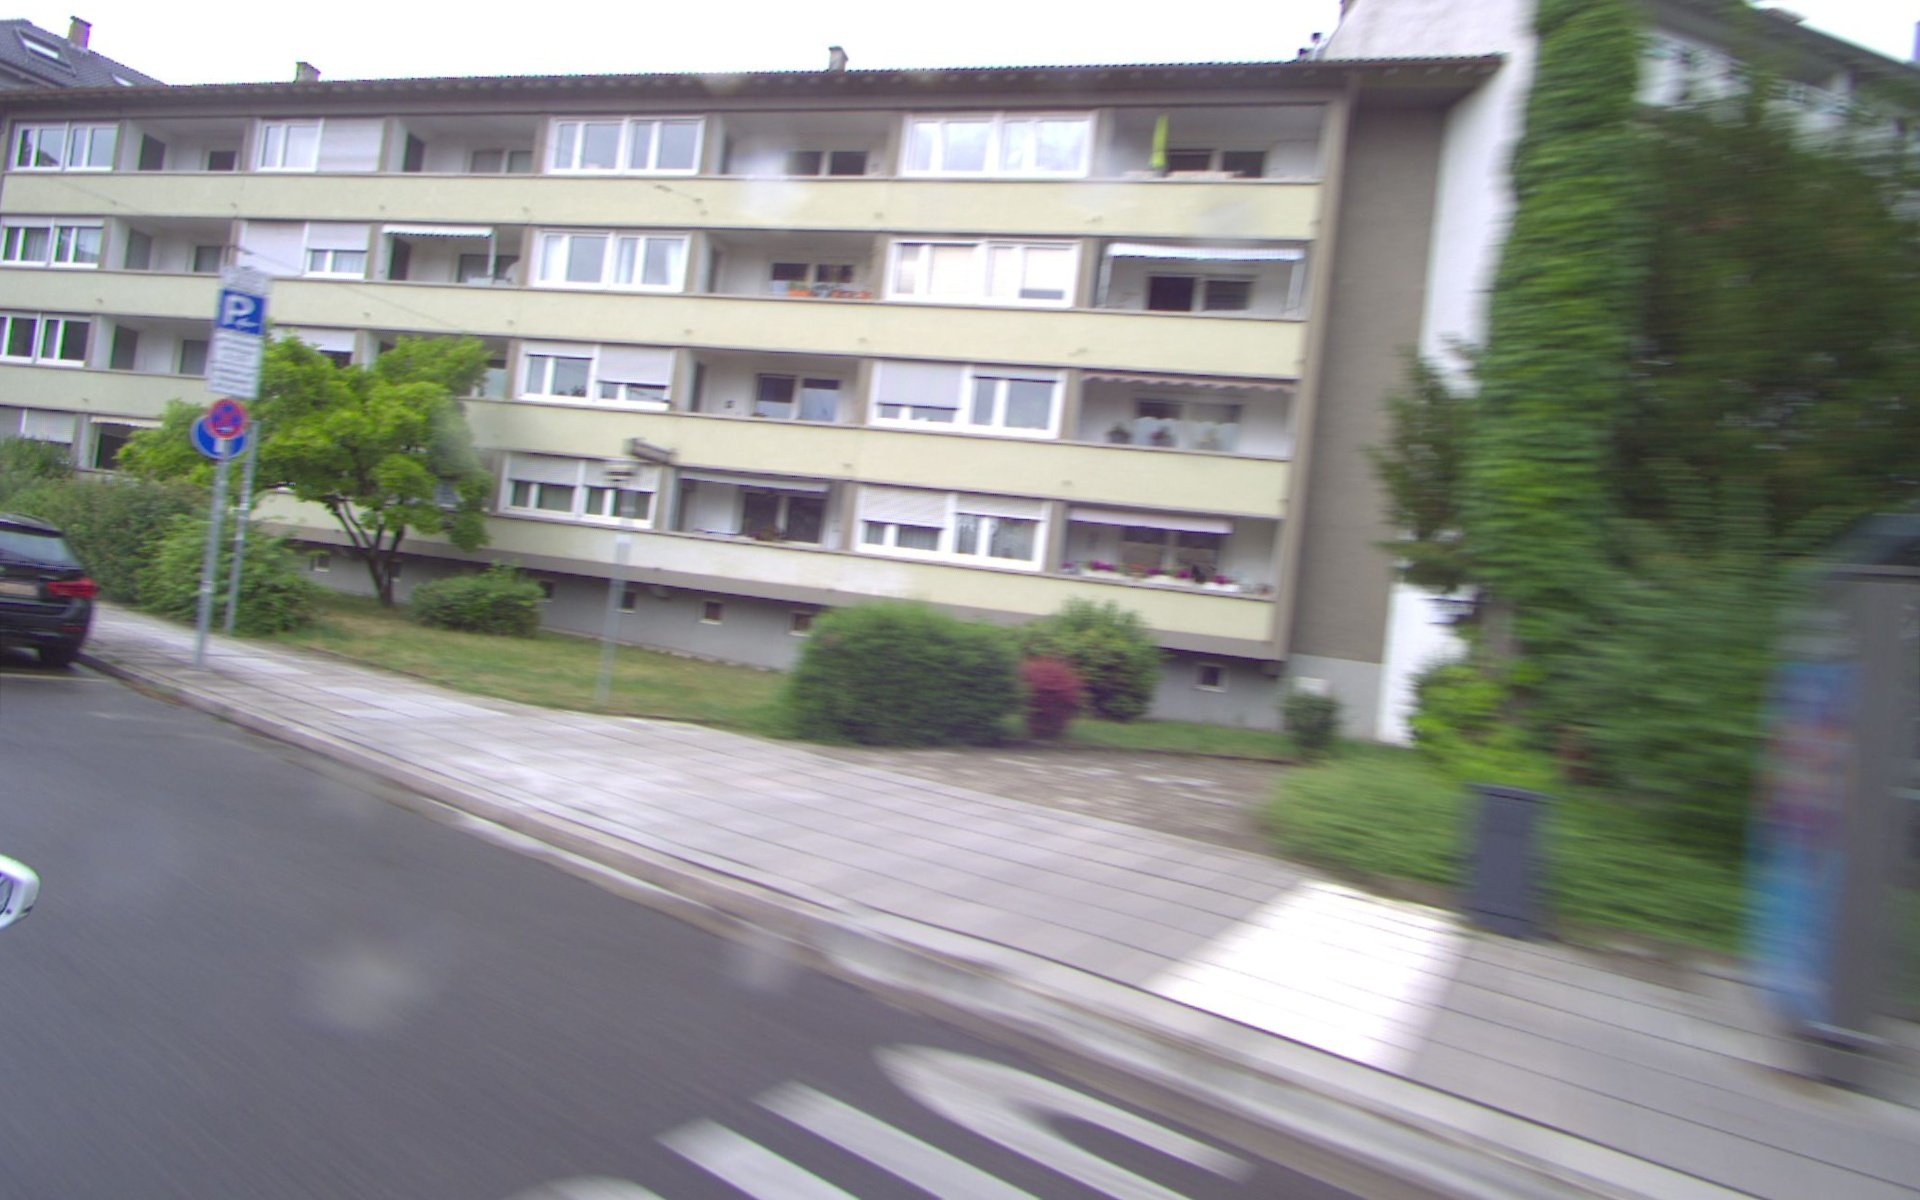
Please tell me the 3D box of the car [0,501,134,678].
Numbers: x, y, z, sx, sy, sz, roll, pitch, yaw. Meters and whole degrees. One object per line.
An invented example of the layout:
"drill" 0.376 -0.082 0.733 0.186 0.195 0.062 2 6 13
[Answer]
"car" -10.396 -0.351 10.015 4.568 1.503 1.862 7 -3 32

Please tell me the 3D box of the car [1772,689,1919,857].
"car" 12.285 2.226 12.015 4.137 1.714 1.838 8 -2 -14

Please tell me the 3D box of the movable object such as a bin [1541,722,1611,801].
"movable object such as a bin" 8.943 2.339 14.609 0.527 1.034 0.586 8 -2 -25
